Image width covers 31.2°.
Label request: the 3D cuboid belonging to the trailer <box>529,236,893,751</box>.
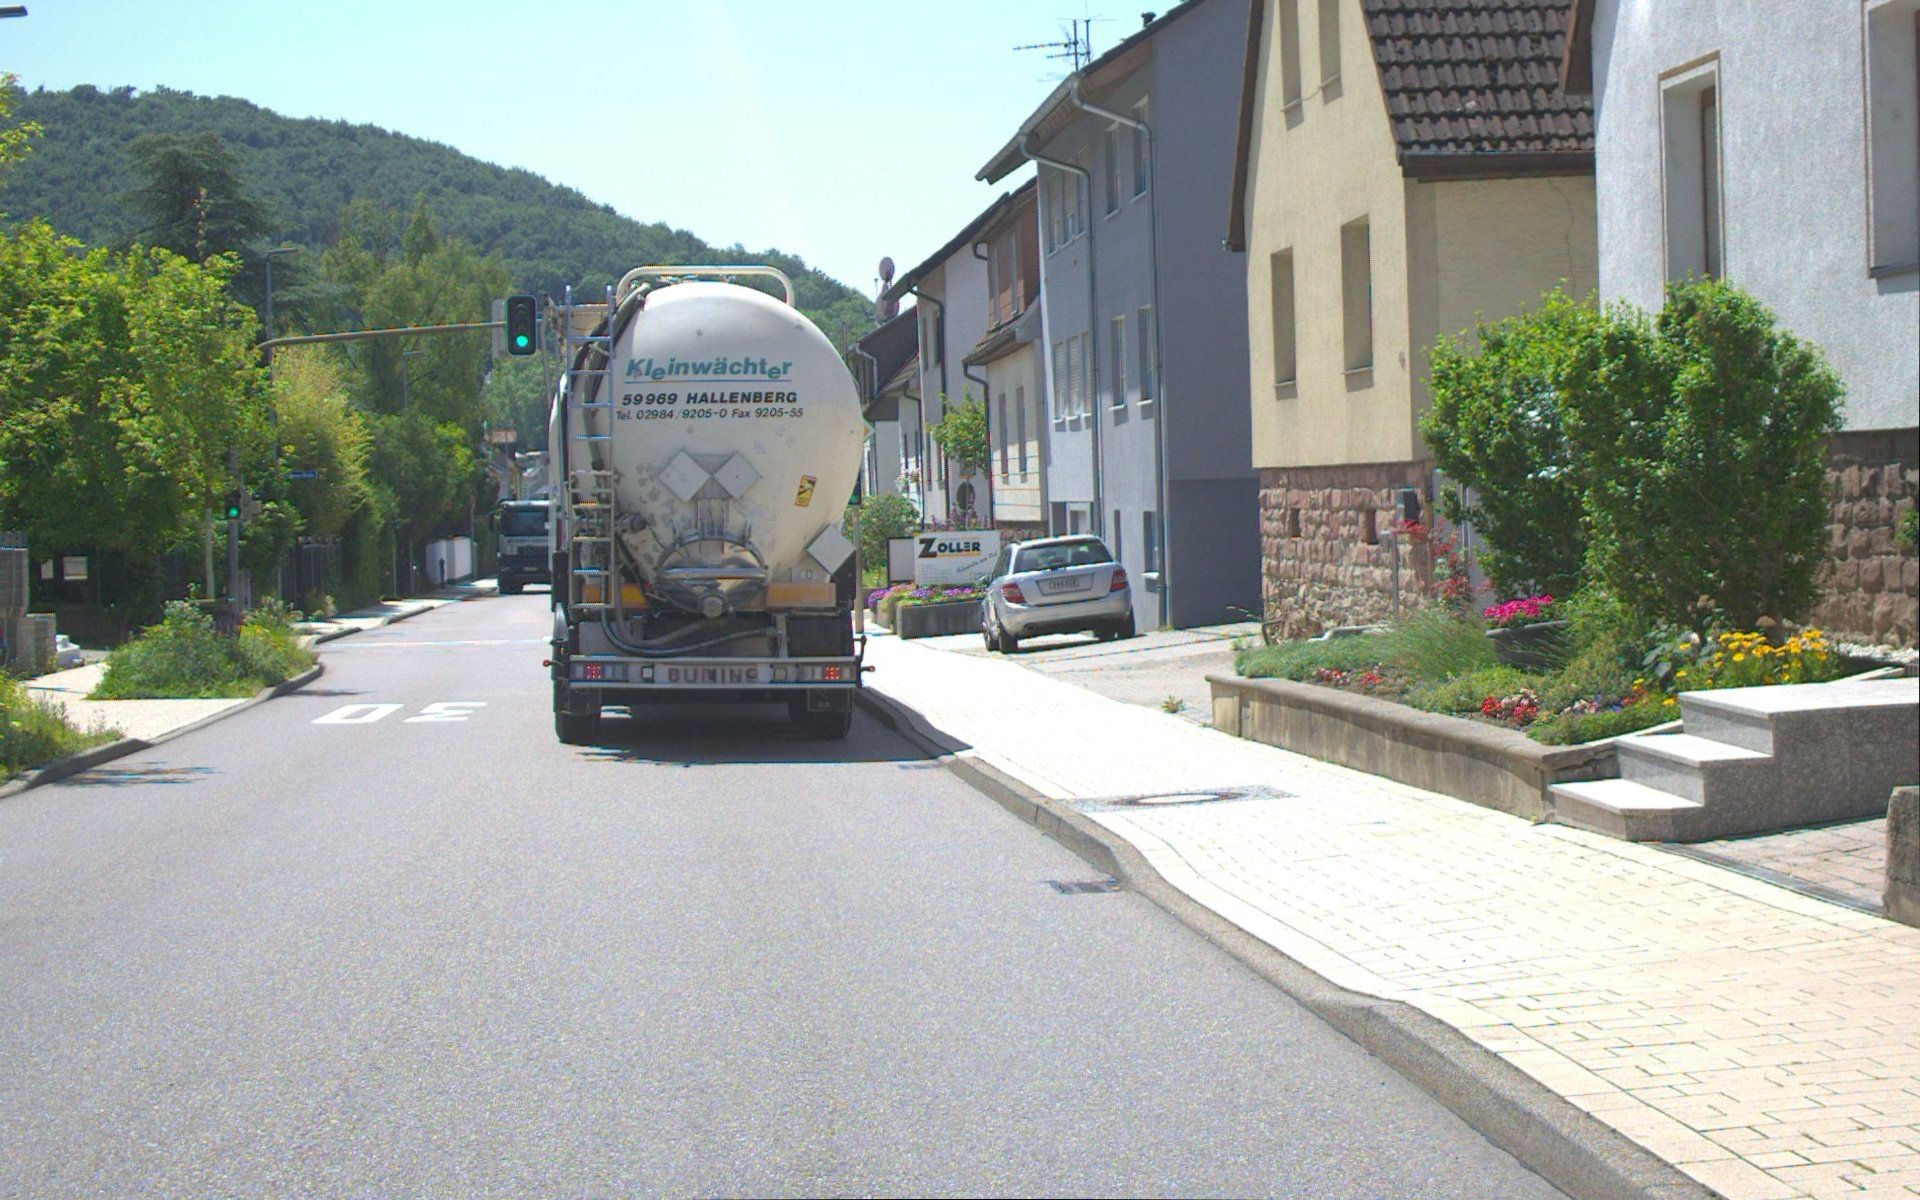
[{"bbox_3d":[-2.435,-0.911,31.876,2.795,3.987,10.326,0,1,-6],"label":"trailer"}]

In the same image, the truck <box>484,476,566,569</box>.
[{"bbox_3d":[-16.345,-2.892,129.526,2.728,3.360,8.636,0,1,-5],"label":"truck"}]

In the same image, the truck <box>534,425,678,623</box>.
[{"bbox_3d":[-9.101,-1.768,87.365,2.846,4.663,11.342,1,0,-10],"label":"truck"}]

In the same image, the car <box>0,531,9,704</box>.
[{"bbox_3d":[-11.849,0.217,34.066,4.394,1.744,1.878,-1,1,-5],"label":"car"}]

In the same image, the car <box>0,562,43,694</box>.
[{"bbox_3d":[-12.132,0.332,38.227,3.546,1.434,1.696,-1,1,30],"label":"car"}]

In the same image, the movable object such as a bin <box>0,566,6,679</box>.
[{"bbox_3d":[-11.813,0.297,40.082,0.989,1.315,1.404,0,3,-1],"label":"movable object such as a bin"}]

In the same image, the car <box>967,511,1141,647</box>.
[{"bbox_3d":[1.191,-0.297,45.456,1.791,1.536,4.520,-6,1,-3],"label":"car"}]

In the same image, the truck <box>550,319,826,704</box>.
[{"bbox_3d":[-3.067,-0.948,38.174,2.808,3.923,6.100,0,1,-5],"label":"truck"}]
